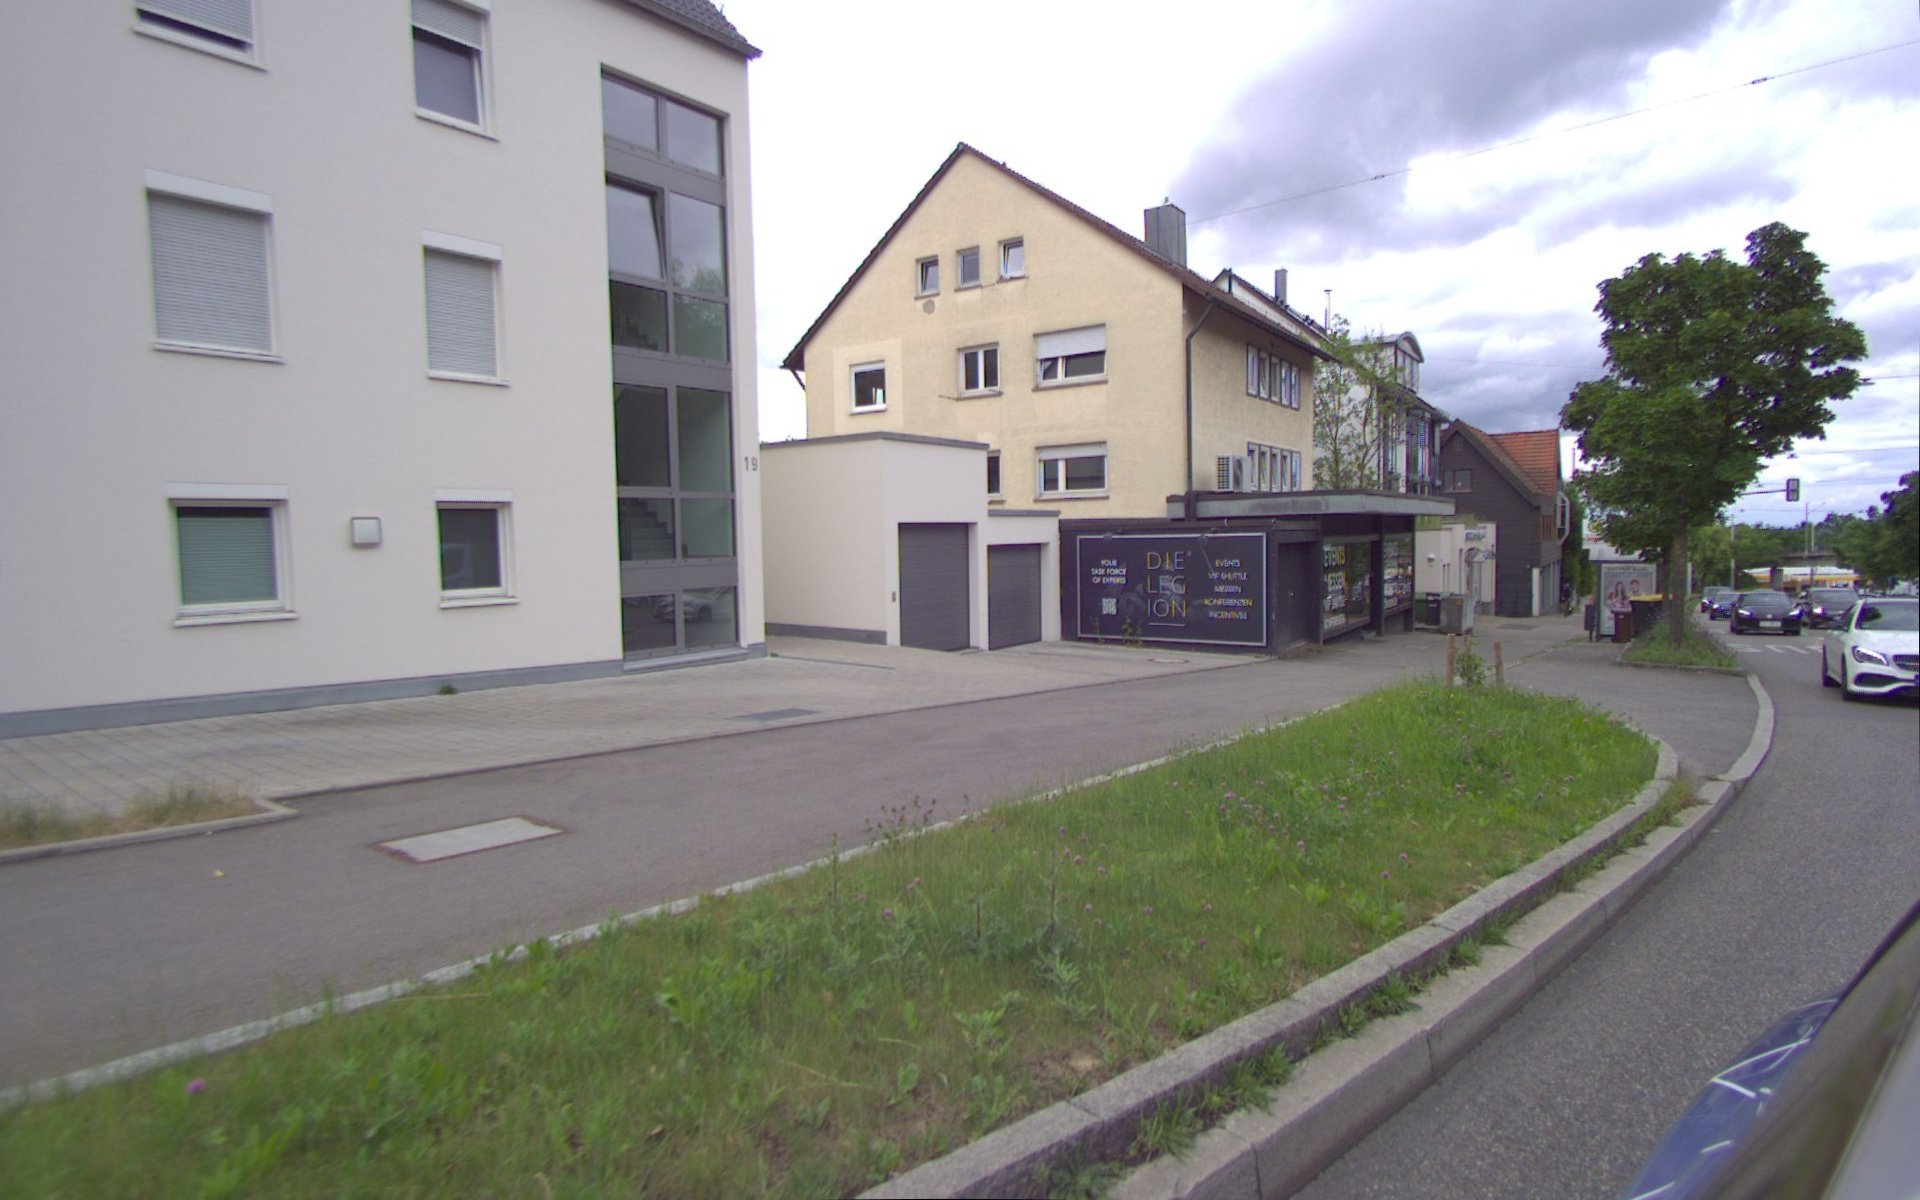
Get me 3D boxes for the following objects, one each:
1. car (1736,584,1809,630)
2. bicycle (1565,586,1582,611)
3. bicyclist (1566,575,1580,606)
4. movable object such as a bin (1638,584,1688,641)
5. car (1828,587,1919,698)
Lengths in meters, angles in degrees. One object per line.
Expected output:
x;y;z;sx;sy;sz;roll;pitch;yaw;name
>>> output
28.750;0.236;35.904;1.768;1.561;3.949;0;0;35;car
32.530;-0.070;53.651;0.569;1.278;2.012;2;0;35;bicycle
32.345;-0.501;53.376;0.536;1.654;0.935;0;0;36;bicyclist
19.092;0.328;27.466;1.083;1.500;1.516;0;0;37;movable object such as a bin
13.638;0.535;14.237;1.807;1.416;3.949;1;0;36;car
